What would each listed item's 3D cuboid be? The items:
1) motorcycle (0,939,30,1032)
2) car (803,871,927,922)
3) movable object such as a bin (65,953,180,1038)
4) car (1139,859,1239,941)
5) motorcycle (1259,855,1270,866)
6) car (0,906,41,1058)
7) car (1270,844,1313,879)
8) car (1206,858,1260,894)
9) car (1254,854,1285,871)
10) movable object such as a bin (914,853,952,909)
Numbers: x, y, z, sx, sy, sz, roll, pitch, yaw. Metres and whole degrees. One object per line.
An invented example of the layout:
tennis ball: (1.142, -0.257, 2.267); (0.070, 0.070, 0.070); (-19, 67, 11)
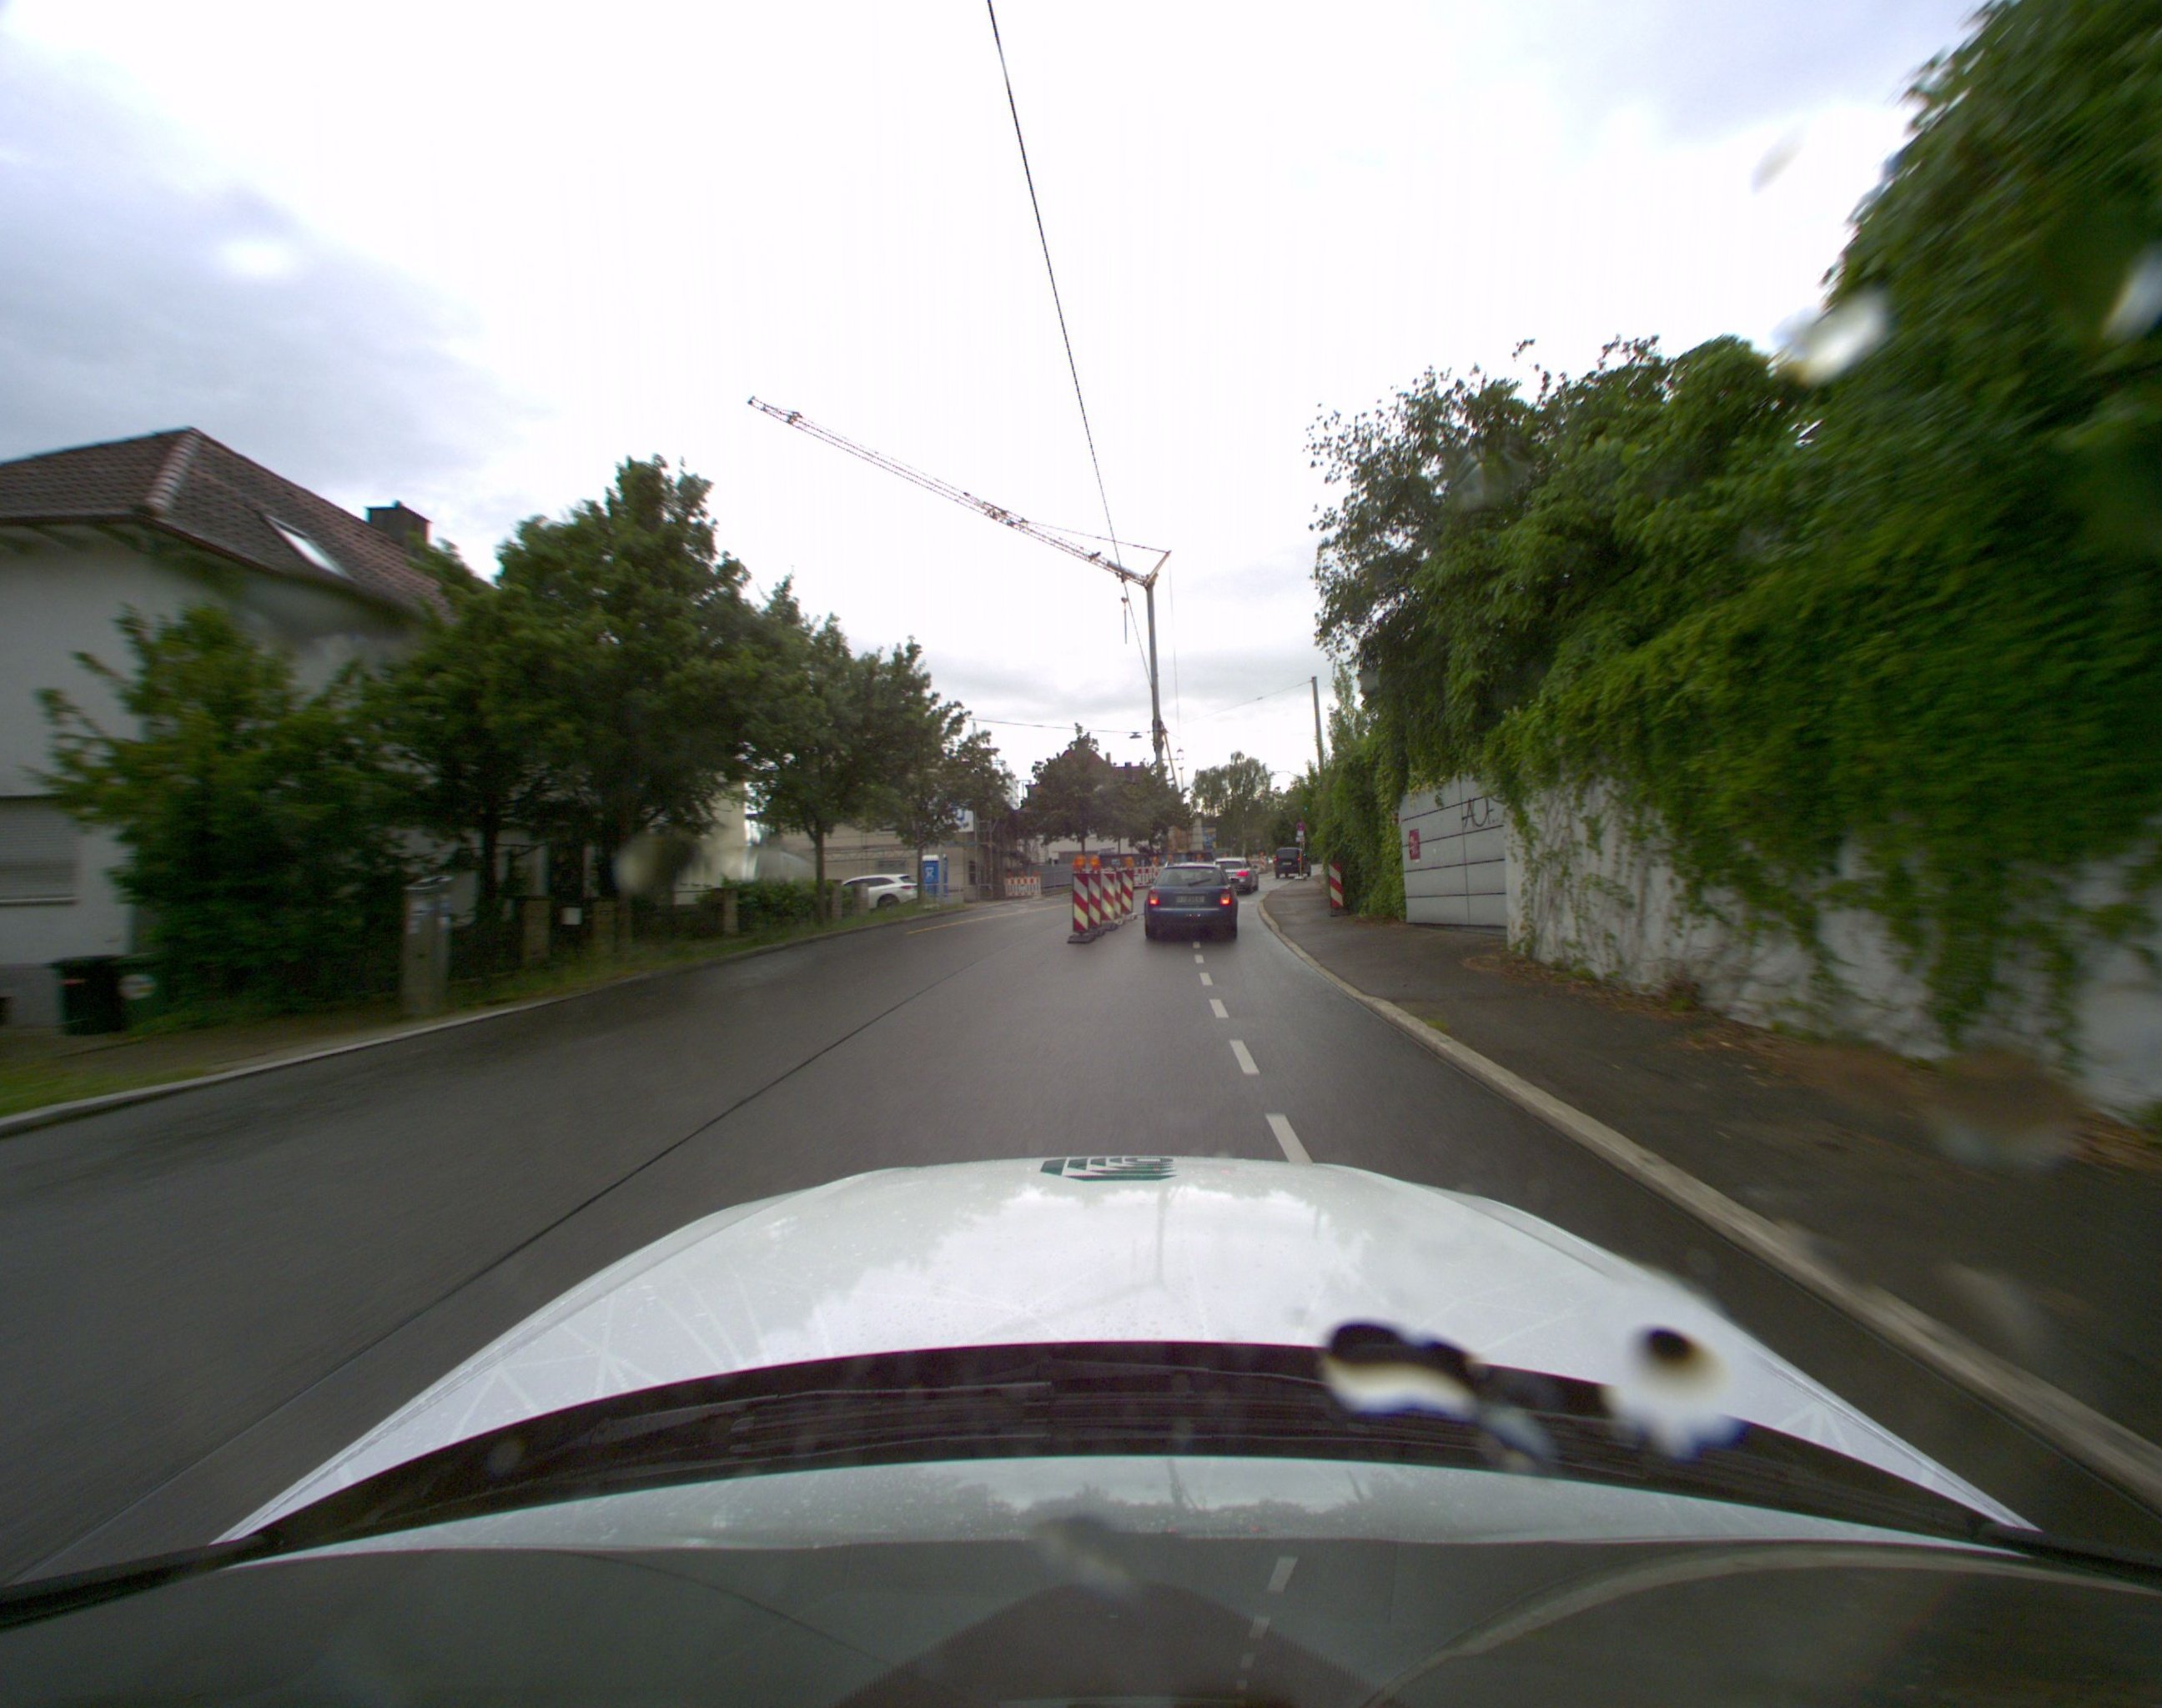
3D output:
motorcycle: (-13.937, 1.601, 9.730); (1.699, 1.103, 0.762); (0, -2, 0)
car: (-8.428, 1.647, 31.986); (4.178, 1.604, 1.952); (-5, -2, 3)
movable object such as a bin: (-11.489, 1.683, 9.778); (0.666, 0.921, 0.592); (0, -1, 3)
car: (2.217, 0.840, 16.430); (1.767, 1.439, 4.010); (0, -1, 9)
motorcycle: (19.099, 0.678, 84.678); (0.585, 1.131, 1.854); (-5, -1, 27)
car: (-13.154, 1.278, 7.838); (3.924, 1.543, 1.865); (2, -1, 2)
car: (13.122, 0.420, 50.556); (1.714, 1.894, 4.079); (-5, -1, 25)
car: (6.340, 0.876, 33.664); (1.895, 1.388, 4.367); (-1, -1, 14)
car: (21.085, 0.996, 91.291); (1.686, 1.509, 3.993); (-6, -3, -13)
movable object such as a bin: (-6.803, 1.231, 37.512); (1.306, 2.506, 1.388); (-3, -1, 6)
